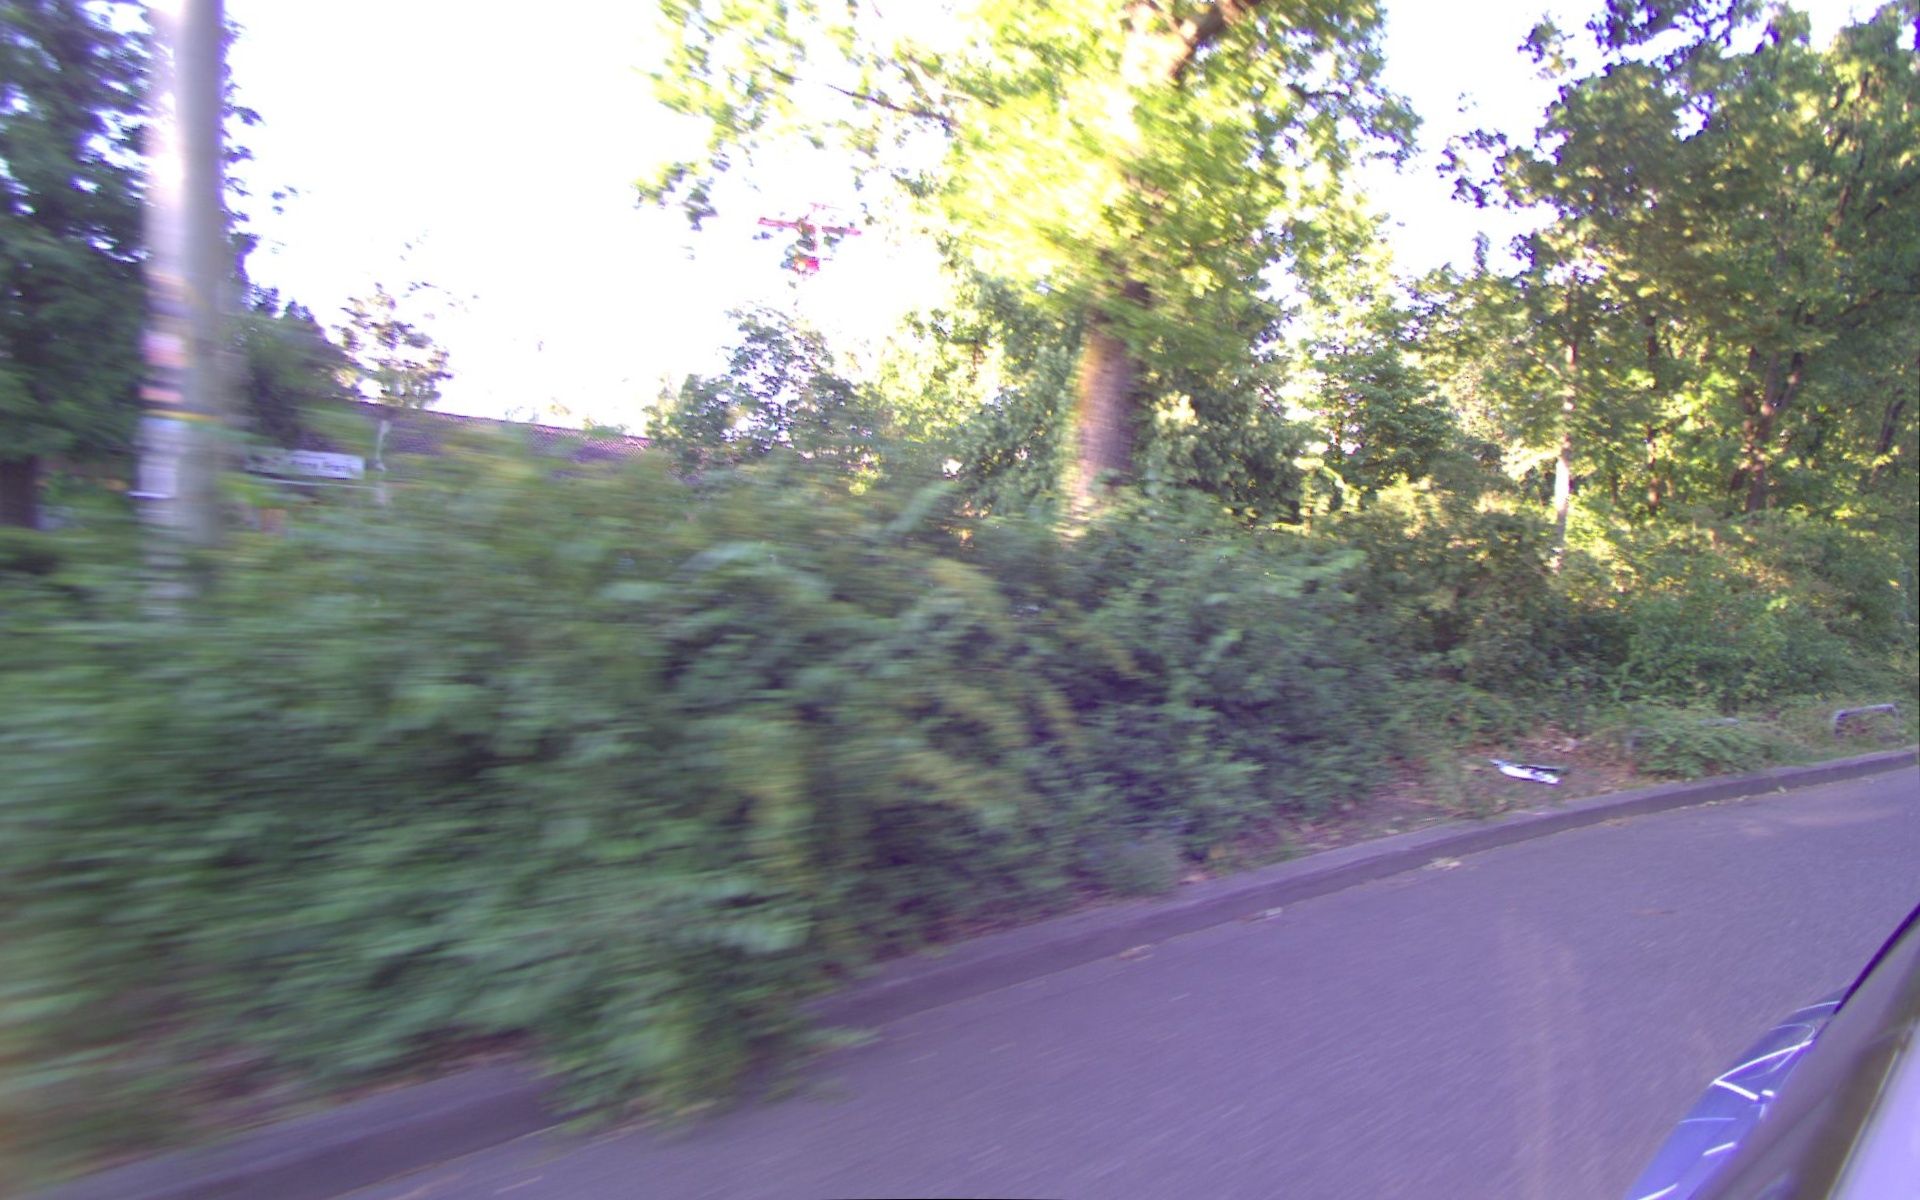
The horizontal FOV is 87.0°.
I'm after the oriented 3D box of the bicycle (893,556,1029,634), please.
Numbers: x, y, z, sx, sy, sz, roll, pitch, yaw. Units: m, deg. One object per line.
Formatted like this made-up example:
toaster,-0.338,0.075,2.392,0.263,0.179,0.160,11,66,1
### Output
bicycle,0.001,-0.121,18.695,2.430,1.314,0.744,3,2,30
